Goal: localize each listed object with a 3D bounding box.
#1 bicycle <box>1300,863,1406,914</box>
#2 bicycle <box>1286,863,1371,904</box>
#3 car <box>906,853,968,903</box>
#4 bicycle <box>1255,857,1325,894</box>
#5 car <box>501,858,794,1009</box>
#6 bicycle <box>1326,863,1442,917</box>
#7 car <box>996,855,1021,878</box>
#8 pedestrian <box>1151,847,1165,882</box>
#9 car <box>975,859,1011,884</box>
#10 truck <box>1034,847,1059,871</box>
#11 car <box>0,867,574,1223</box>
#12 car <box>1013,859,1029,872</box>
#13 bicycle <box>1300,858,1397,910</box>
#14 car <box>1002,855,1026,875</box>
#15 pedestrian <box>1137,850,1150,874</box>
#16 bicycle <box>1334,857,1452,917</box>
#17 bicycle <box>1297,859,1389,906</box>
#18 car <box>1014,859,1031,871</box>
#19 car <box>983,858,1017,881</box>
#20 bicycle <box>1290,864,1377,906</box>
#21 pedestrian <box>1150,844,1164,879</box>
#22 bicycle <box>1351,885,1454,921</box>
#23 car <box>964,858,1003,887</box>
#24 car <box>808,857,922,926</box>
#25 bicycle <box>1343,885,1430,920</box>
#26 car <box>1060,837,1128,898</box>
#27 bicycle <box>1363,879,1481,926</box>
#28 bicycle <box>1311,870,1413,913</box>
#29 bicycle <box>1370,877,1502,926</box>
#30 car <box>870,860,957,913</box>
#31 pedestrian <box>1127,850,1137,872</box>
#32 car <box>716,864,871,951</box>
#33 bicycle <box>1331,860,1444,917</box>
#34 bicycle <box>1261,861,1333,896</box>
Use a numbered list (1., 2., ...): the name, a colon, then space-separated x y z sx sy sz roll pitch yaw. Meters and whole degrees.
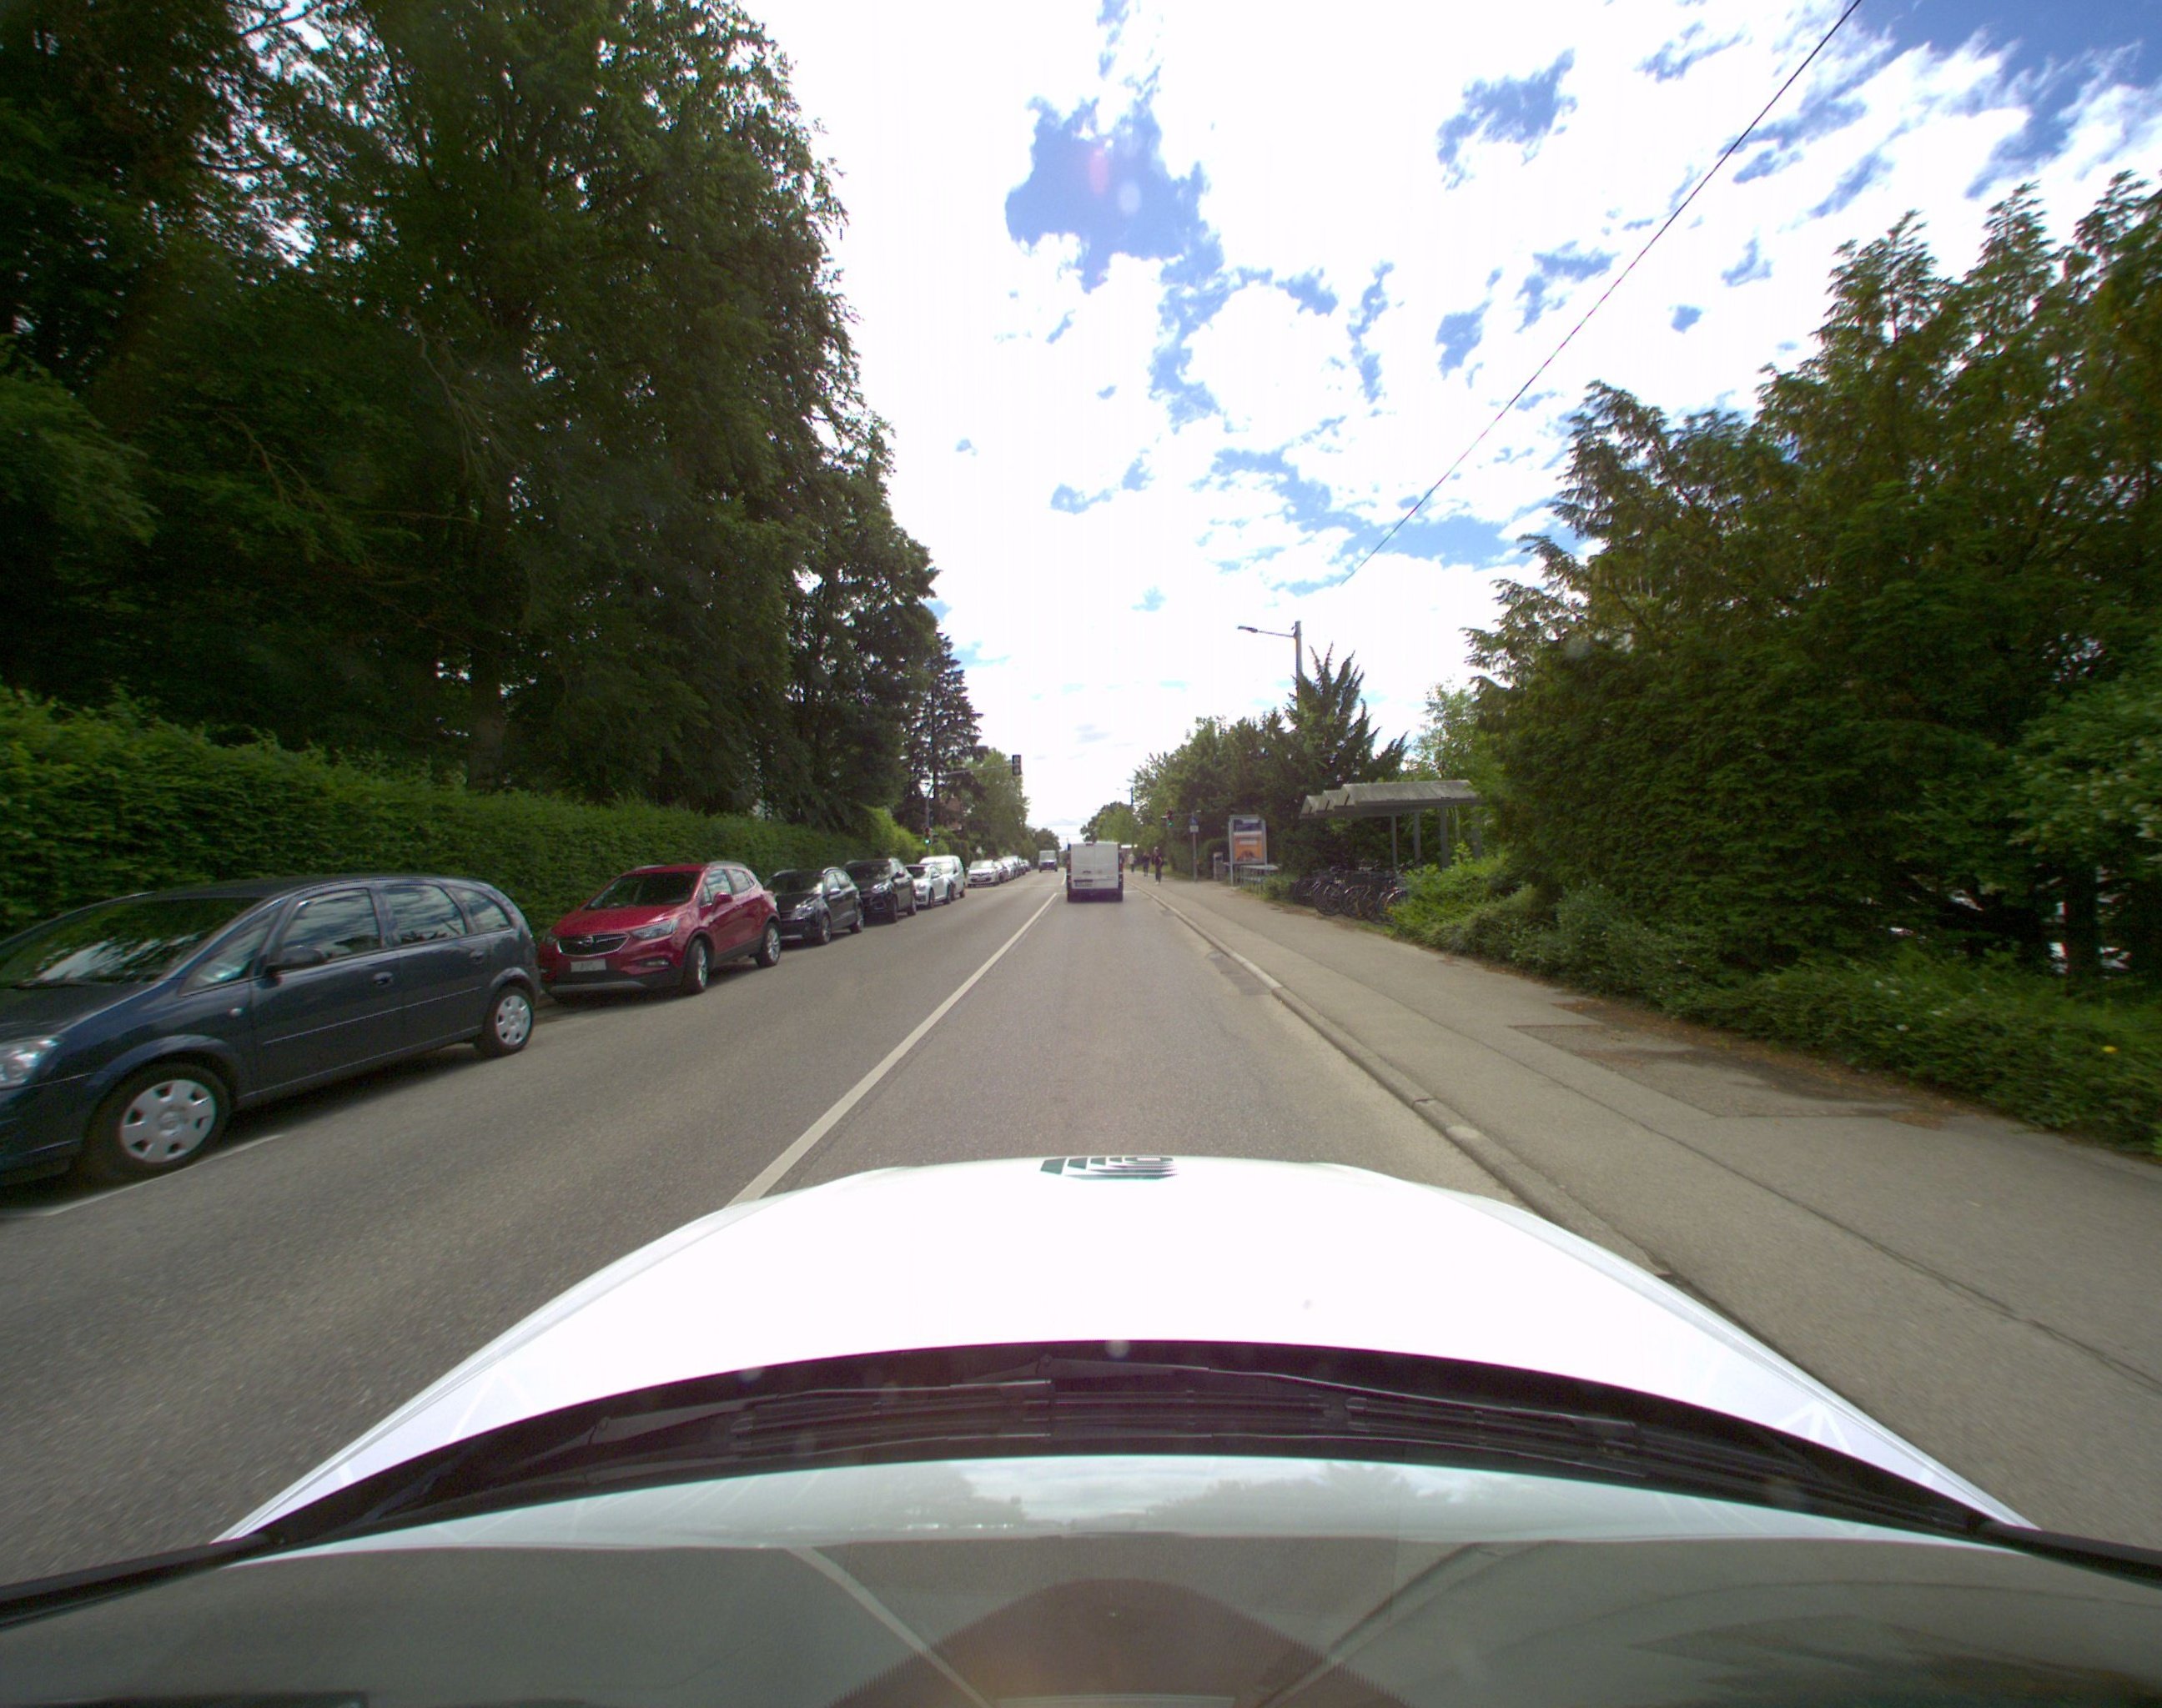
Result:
1. bicycle: 6.015 0.749 18.051 2.195 1.047 0.451 -2 -1 -3
2. bicycle: 6.460 0.770 21.291 2.083 1.047 0.450 0 -1 -3
3. car: -5.734 0.898 33.004 1.672 1.758 4.605 -3 0 -1
4. bicycle: 6.768 0.690 26.423 2.080 1.081 0.547 -3 -1 2
5. car: -5.634 0.900 11.345 1.785 1.610 4.413 -2 0 -2
6. bicycle: 6.306 0.742 16.997 2.190 1.047 0.452 -2 -1 5
7. car: -5.856 1.016 66.048 1.622 1.678 4.580 -4 0 -2
8. pedestrian: 3.701 0.500 39.128 0.645 1.664 0.709 0 -1 4
9. car: -5.772 1.115 53.672 1.737 1.410 4.323 -3 0 1
10. truck: -3.669 0.550 88.043 2.182 2.371 6.904 -3 0 0
11. car: -5.750 0.934 5.561 1.751 1.534 4.328 -3 0 1
12. car: -7.320 1.397 98.931 1.649 1.427 3.897 -3 0 -7
13. bicycle: 6.241 0.696 19.016 2.083 1.150 0.530 -1 -1 -3
14. car: -6.398 1.000 78.142 1.980 1.819 4.704 -2 0 -2
15. pedestrian: 4.241 0.546 55.213 0.836 1.659 0.767 0 -1 3
16. bicycle: 6.324 0.669 16.572 2.190 1.149 0.452 -2 -1 5
17. bicycle: 6.369 0.702 19.805 2.071 1.047 0.453 -3 -1 20
18. car: -7.464 1.413 103.844 1.862 1.459 4.486 -2 -1 -1
19. car: -5.869 1.095 59.394 1.799 1.459 5.069 -3 0 0
20. bicycle: 6.412 0.783 20.735 2.083 1.047 0.450 0 -1 -3
21. pedestrian: 4.219 0.410 44.981 0.741 1.883 0.802 0 -1 5
22. bicycle: 6.198 0.933 15.706 1.982 0.639 0.331 0 -1 -12
23. car: -5.725 1.039 48.138 1.697 1.543 3.743 -3 0 1
24. car: -5.670 0.914 22.004 1.891 1.593 4.641 -2 0 -1
25. bicycle: 5.984 0.937 15.971 1.678 0.639 0.331 0 -1 -12
26. car: 0.349 0.444 28.303 2.030 1.945 4.987 0 -1 -3
27. bicycle: 6.222 0.881 14.903 1.983 0.826 0.451 0 -1 -1
28. bicycle: 6.385 0.849 18.520 2.196 0.938 0.451 0 -1 -4
29. bicycle: 6.168 0.828 14.203 2.066 0.826 0.452 0 -1 5
30. car: -5.576 1.034 27.598 1.697 1.453 4.361 -5 0 3
31. pedestrian: 3.877 0.563 61.864 0.683 1.659 0.690 0 -1 3
32. car: -5.779 1.001 16.929 1.728 1.459 4.235 -2 0 -1
33. bicycle: 6.550 0.730 17.420 2.195 1.047 0.451 -4 -1 -3
34. bicycle: 6.642 0.756 25.097 2.080 1.047 0.559 1 -1 2
